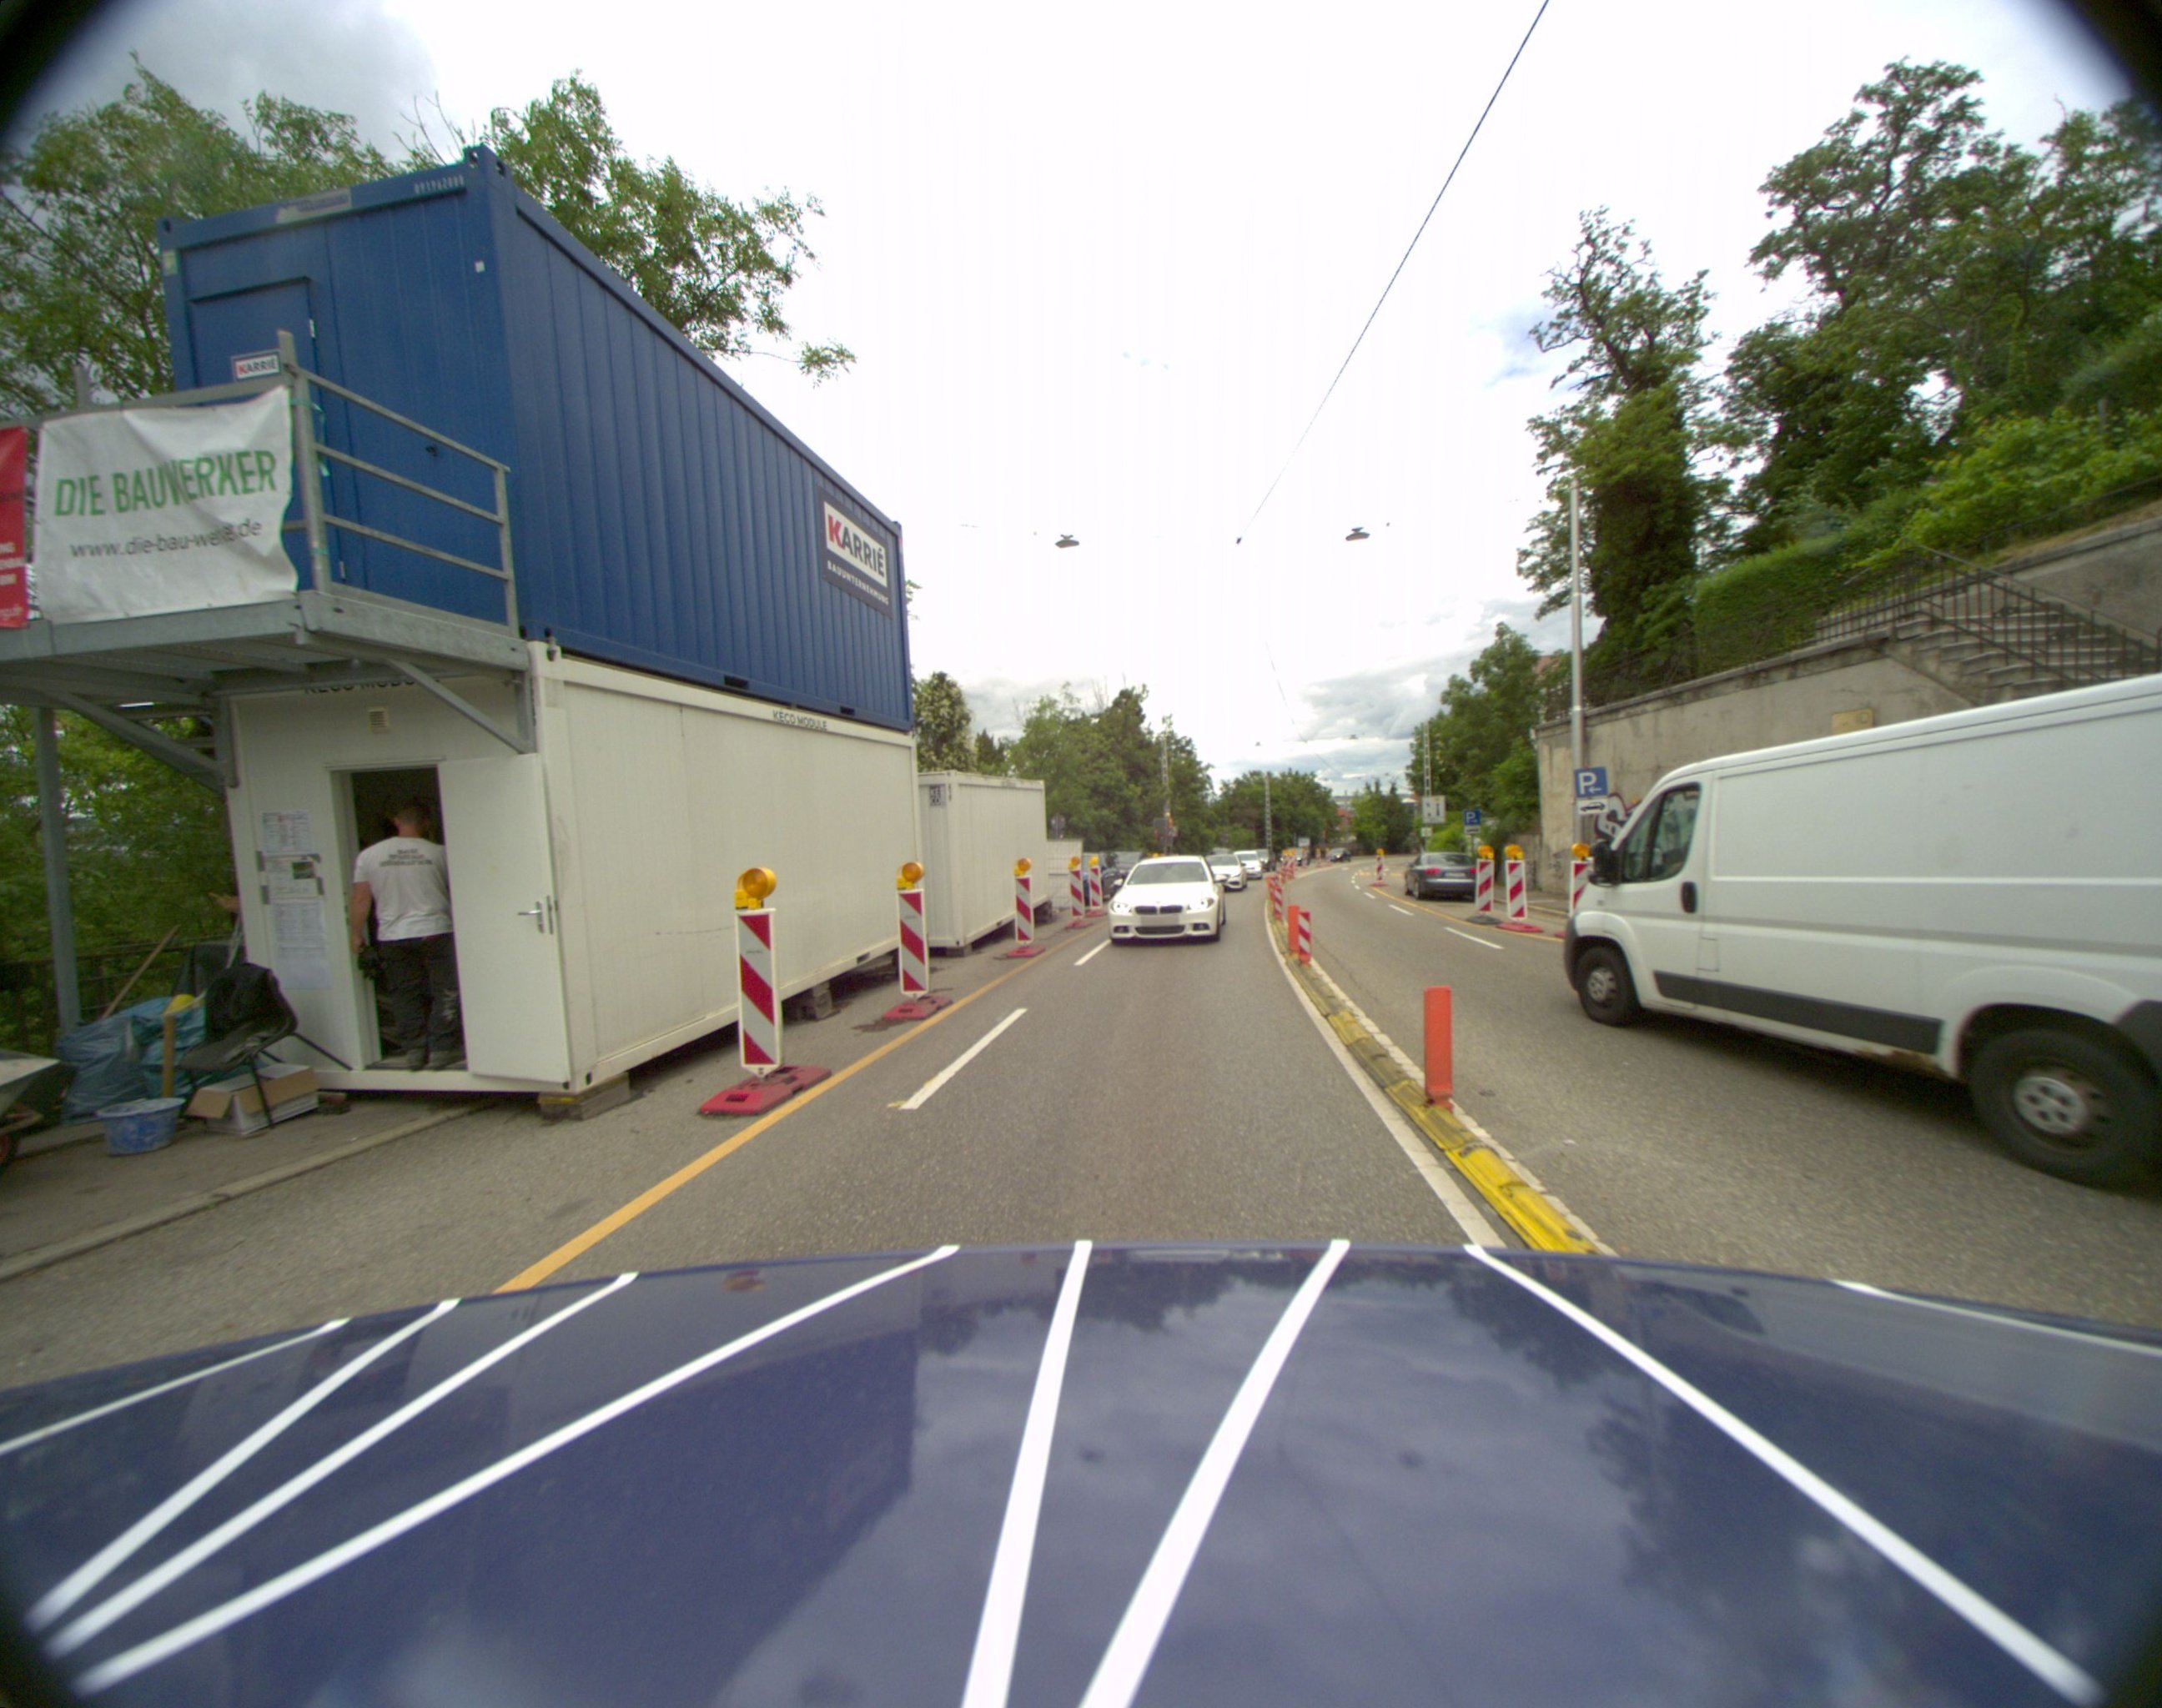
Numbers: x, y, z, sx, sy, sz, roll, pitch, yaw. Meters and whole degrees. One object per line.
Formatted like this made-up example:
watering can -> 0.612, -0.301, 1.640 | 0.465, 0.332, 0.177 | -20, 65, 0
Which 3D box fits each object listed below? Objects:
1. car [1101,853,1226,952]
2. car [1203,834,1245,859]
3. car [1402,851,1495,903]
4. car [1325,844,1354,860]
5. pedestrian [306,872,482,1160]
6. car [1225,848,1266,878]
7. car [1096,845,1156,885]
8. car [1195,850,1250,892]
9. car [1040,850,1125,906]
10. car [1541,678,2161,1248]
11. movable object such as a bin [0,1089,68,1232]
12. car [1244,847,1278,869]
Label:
car -> 1.692, 0.775, 14.139 | 1.790, 1.472, 4.248 | -2, 1, 13
car -> 10.744, -0.569, 56.956 | 1.854, 1.665, 4.286 | 5, 3, 26
car -> 10.871, 0.610, 22.790 | 1.801, 1.365, 4.393 | 1, 1, 17
car -> 26.537, -0.227, 77.917 | 1.788, 1.472, 4.253 | -1, 0, 34
pedestrian -> -4.366, 0.963, 4.885 | 0.651, 1.651, 0.648 | -4, 1, -33
car -> 9.137, 0.458, 41.998 | 1.790, 1.542, 4.250 | -1, 0, 17
car -> 2.196, 0.465, 35.983 | 1.864, 1.665, 4.651 | 4, 2, 14
car -> 5.643, 0.618, 29.889 | 1.790, 1.472, 4.249 | -2, 1, 14
car -> 0.155, 0.730, 25.151 | 1.842, 1.633, 4.506 | 0, 1, 13
car -> 5.215, 0.411, 4.520 | 2.072, 2.175, 4.963 | 0, 0, 2
movable object such as a bin -> -5.392, 1.514, 3.333 | 0.600, 0.593, 1.051 | -2, 0, -16
car -> 13.276, 0.243, 55.862 | 1.795, 1.502, 4.006 | 1, 1, 23
